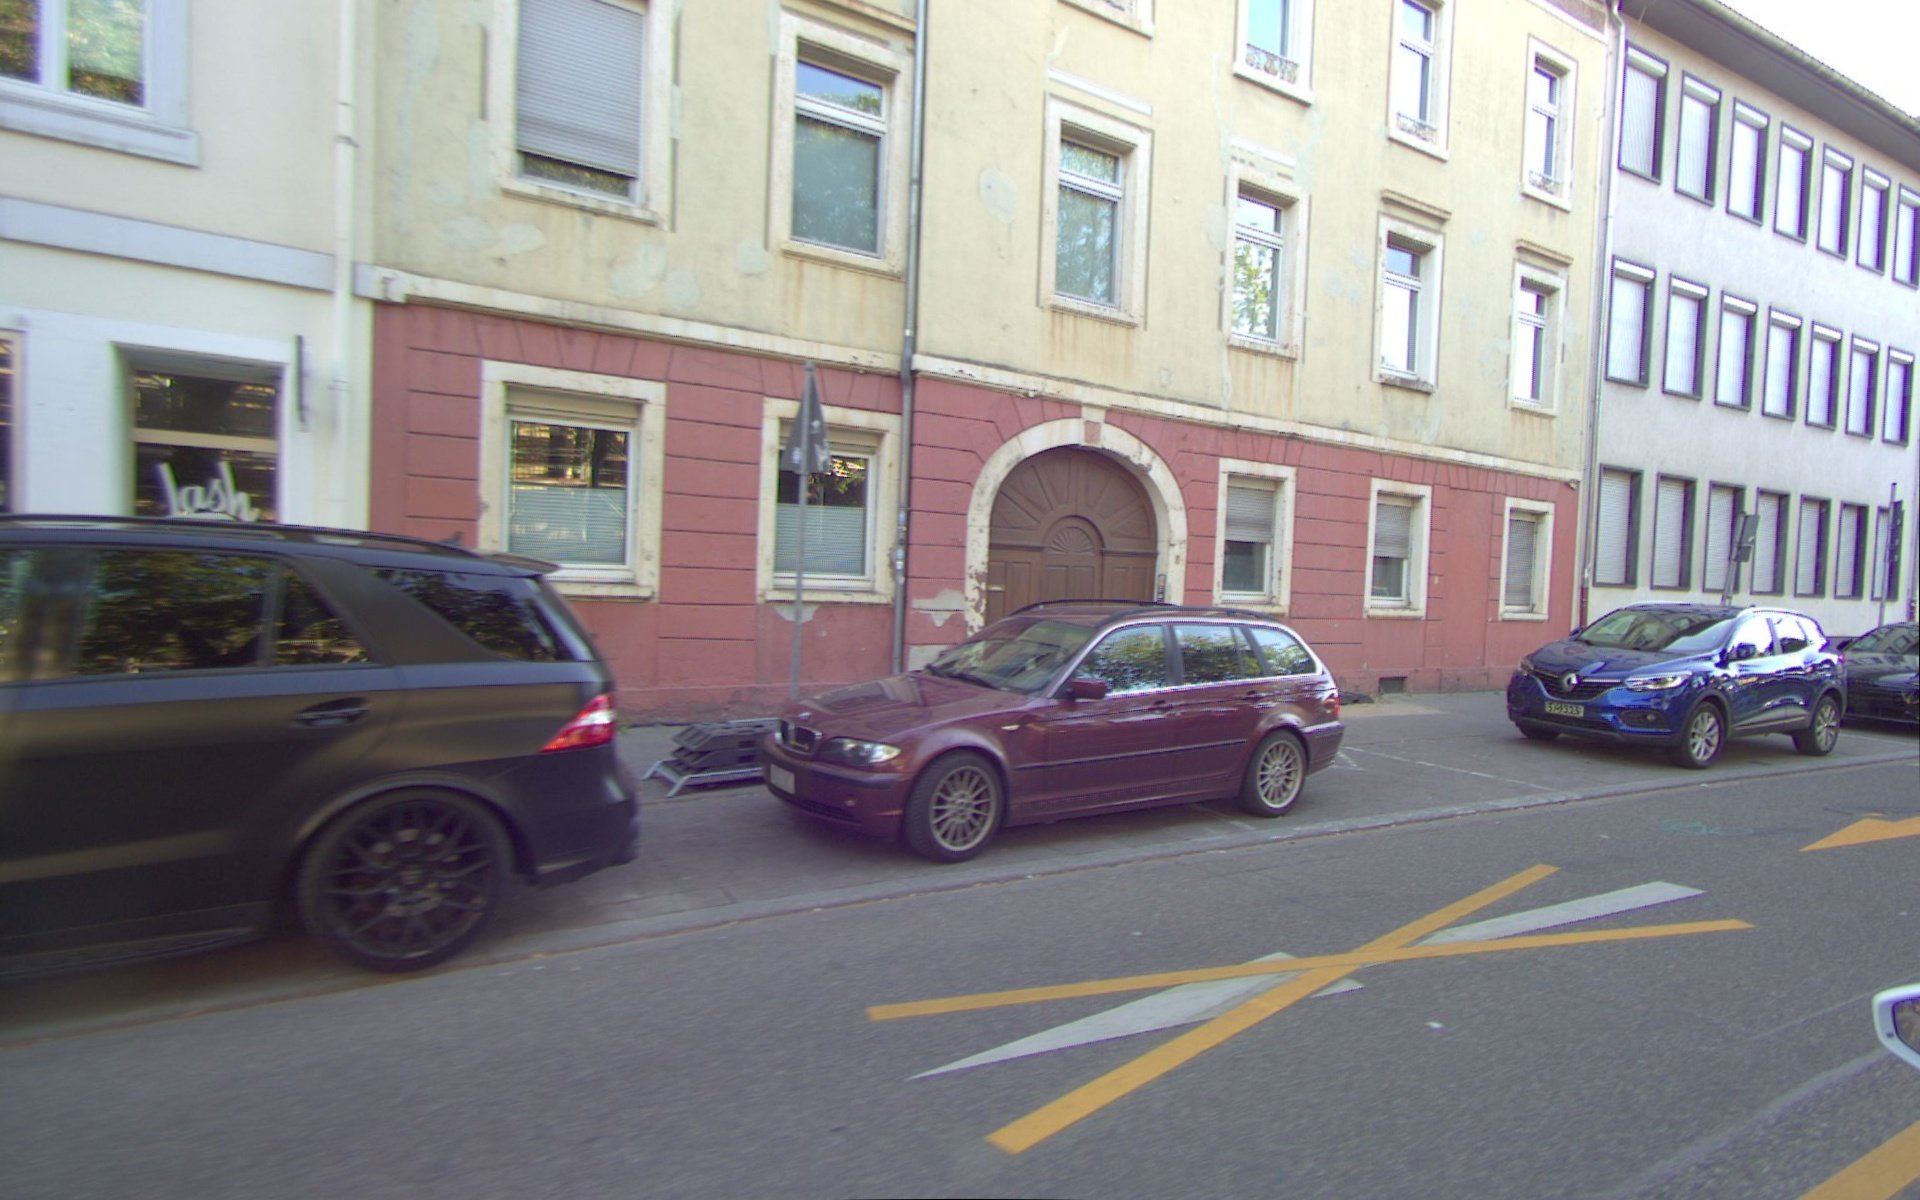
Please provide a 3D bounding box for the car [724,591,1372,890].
[{"bbox_3d":[0.758,0.743,6.982,4.379,1.500,1.644,1,1,-32],"label":"car"}]

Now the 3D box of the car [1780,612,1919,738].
[{"bbox_3d":[14.133,1.024,14.534,4.701,1.524,1.816,1,2,-29],"label":"car"}]

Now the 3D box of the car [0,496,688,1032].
[{"bbox_3d":[-3.687,0.499,3.903,4.732,1.702,1.911,1,1,-32],"label":"car"}]

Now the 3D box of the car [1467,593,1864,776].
[{"bbox_3d":[7.976,0.825,11.312,4.293,1.690,1.926,1,1,-28],"label":"car"}]
